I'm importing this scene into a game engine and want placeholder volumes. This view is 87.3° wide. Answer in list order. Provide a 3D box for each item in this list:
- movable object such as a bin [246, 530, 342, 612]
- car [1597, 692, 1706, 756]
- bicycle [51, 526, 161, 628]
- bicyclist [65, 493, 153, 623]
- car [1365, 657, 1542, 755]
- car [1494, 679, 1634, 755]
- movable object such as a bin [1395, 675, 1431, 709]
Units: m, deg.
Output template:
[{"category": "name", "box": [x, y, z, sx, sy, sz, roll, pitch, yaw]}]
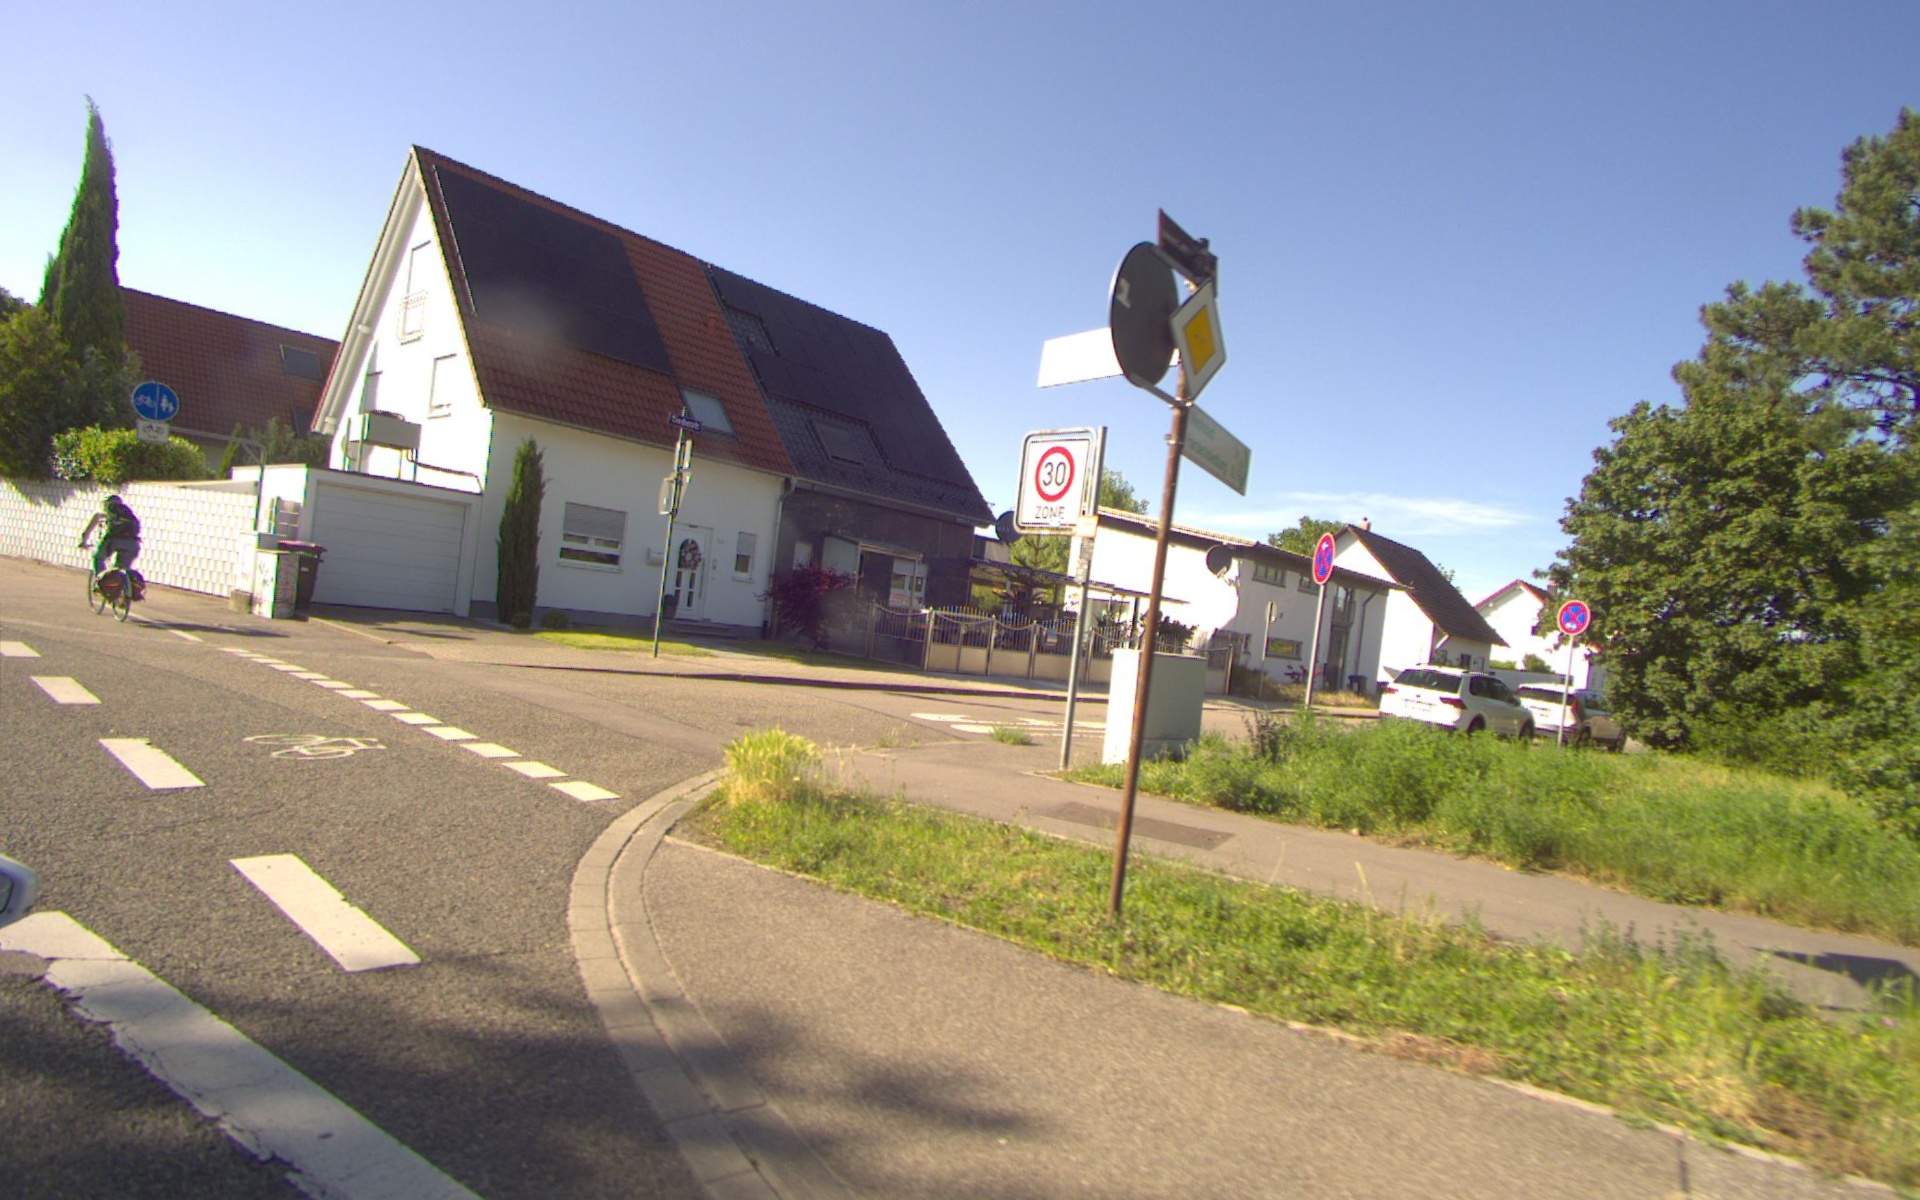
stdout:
[{"category": "movable object such as a bin", "box": [-11.085, -0.483, 16.741, 1.047, 1.220, 1.000, 6, 1, 38]}, {"category": "car", "box": [21.252, 3.834, 30.874, 3.724, 1.595, 1.762, 8, -1, -41]}, {"category": "bicycle", "box": [-11.775, -0.332, 13.849, 2.106, 1.171, 0.573, 8, 4, 34]}, {"category": "bicyclist", "box": [-11.651, -0.569, 13.763, 0.966, 1.655, 0.629, 8, 4, 34]}, {"category": "car", "box": [10.397, 2.250, 21.097, 3.900, 1.501, 1.822, 10, -1, -41]}, {"category": "car", "box": [15.025, 2.918, 24.977, 3.723, 1.502, 1.762, 7, 1, -41]}, {"category": "movable object such as a bin", "box": [16.527, 3.366, 36.704, 0.822, 1.093, 0.923, 6, -2, 43]}]
